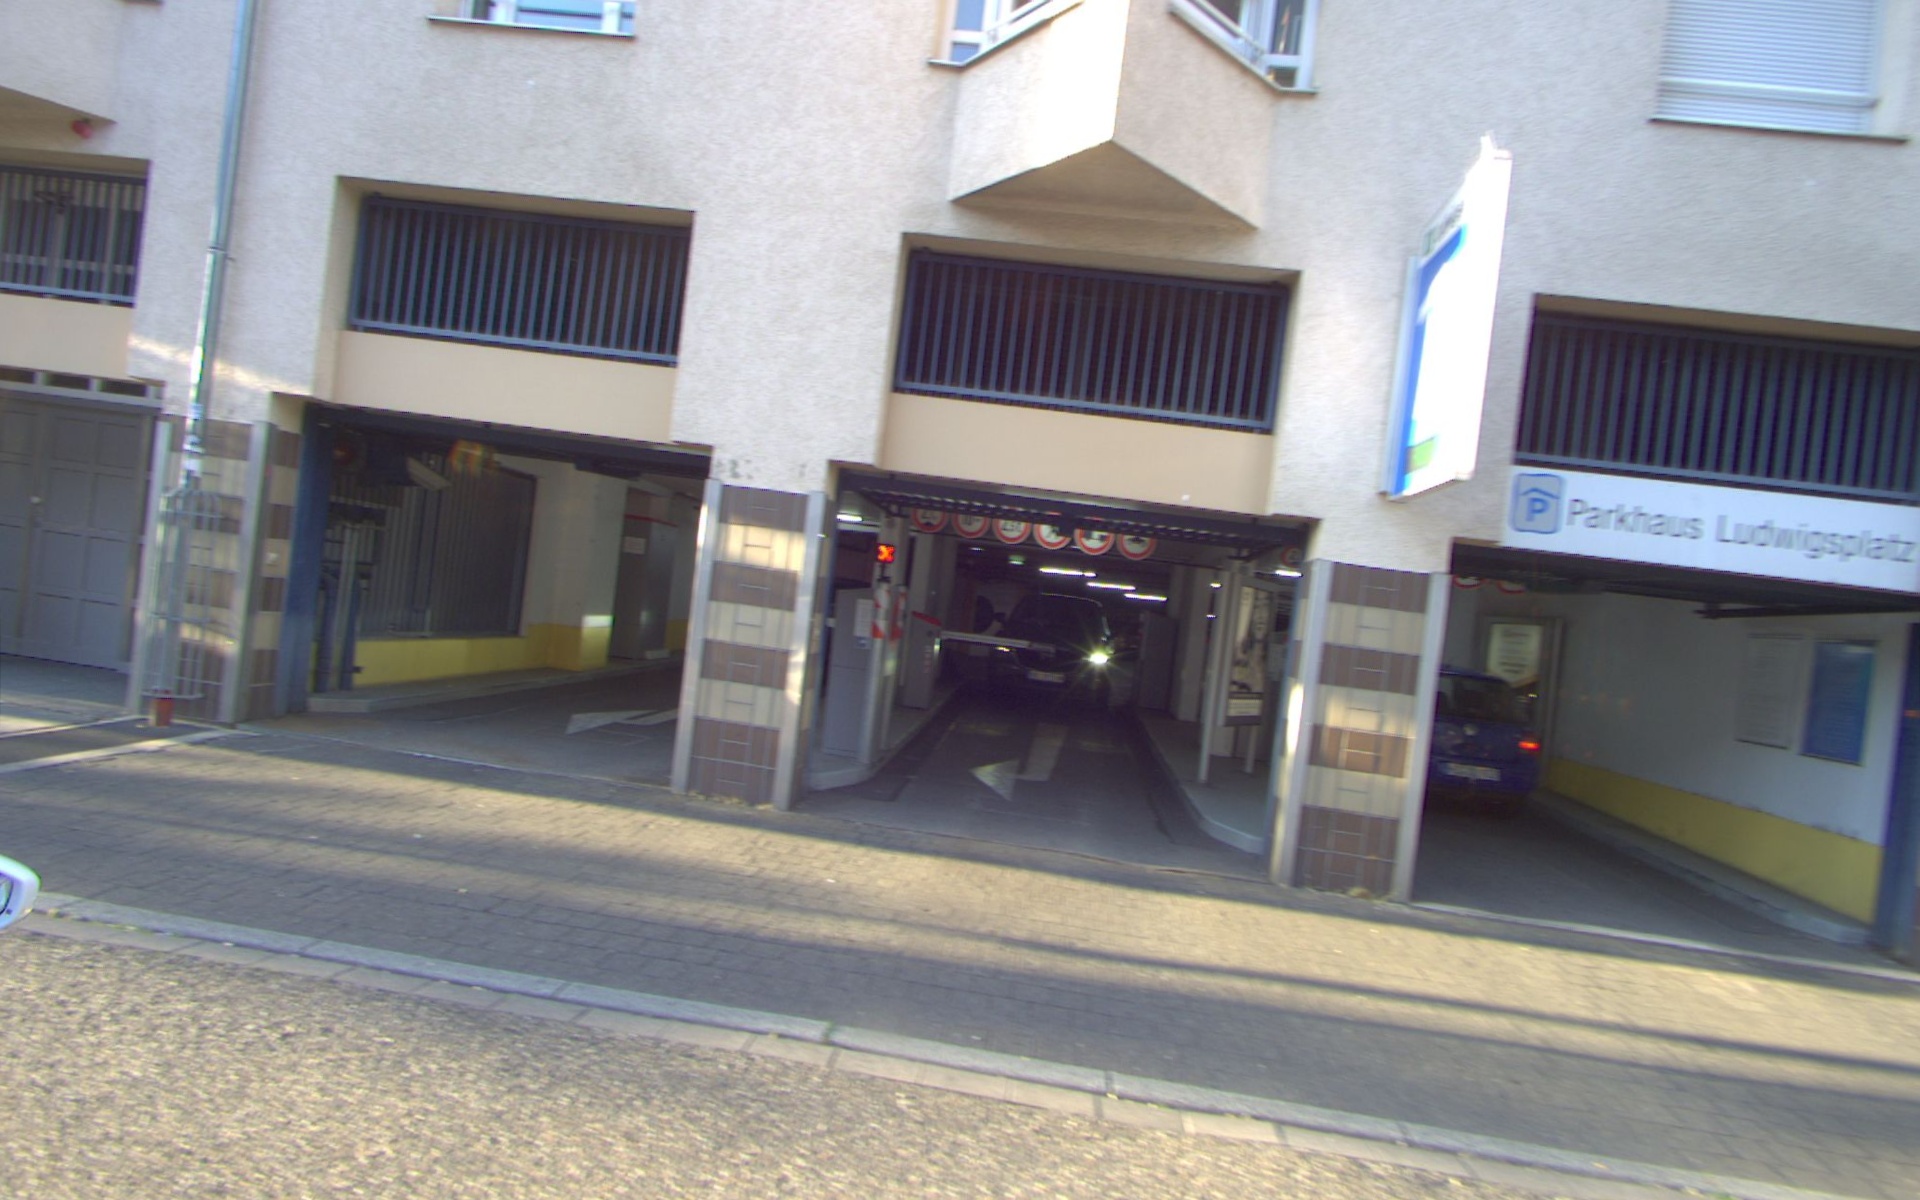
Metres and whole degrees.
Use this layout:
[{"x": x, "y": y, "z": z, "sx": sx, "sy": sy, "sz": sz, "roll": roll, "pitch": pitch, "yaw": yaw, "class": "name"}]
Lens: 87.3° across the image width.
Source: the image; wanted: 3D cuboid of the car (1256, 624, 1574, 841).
[{"x": 4.712, "y": 1.250, "z": 11.167, "sx": 1.662, "sy": 1.583, "sz": 4.116, "roll": 7, "pitch": 2, "yaw": 3, "class": "car"}]

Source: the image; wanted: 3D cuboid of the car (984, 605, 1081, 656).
[{"x": 2.645, "y": 1.113, "z": 37.656, "sx": 1.591, "sy": 1.409, "sz": 3.848, "roll": 6, "pitch": 1, "yaw": -31, "class": "car"}]

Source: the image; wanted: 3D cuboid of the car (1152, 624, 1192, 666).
[{"x": 9.702, "y": 1.996, "z": 45.998, "sx": 1.531, "sy": 1.638, "sz": 3.881, "roll": 7, "pitch": 1, "yaw": 12, "class": "car"}]

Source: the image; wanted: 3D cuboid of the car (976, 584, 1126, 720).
[{"x": 1.594, "y": 0.771, "z": 16.013, "sx": 1.855, "sy": 1.644, "sz": 4.302, "roll": 7, "pitch": 0, "yaw": 10, "class": "car"}]

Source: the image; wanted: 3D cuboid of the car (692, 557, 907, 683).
[{"x": -2.395, "y": 0.325, "z": 16.272, "sx": 1.784, "sy": 1.592, "sz": 4.251, "roll": 7, "pitch": 0, "yaw": 14, "class": "car"}]

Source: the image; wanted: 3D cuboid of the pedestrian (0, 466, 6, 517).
[{"x": -8.105, "y": -0.331, "z": 7.819, "sx": 0.525, "sy": 1.592, "sz": 0.777, "roll": 8, "pitch": 1, "yaw": 33, "class": "pedestrian"}]
